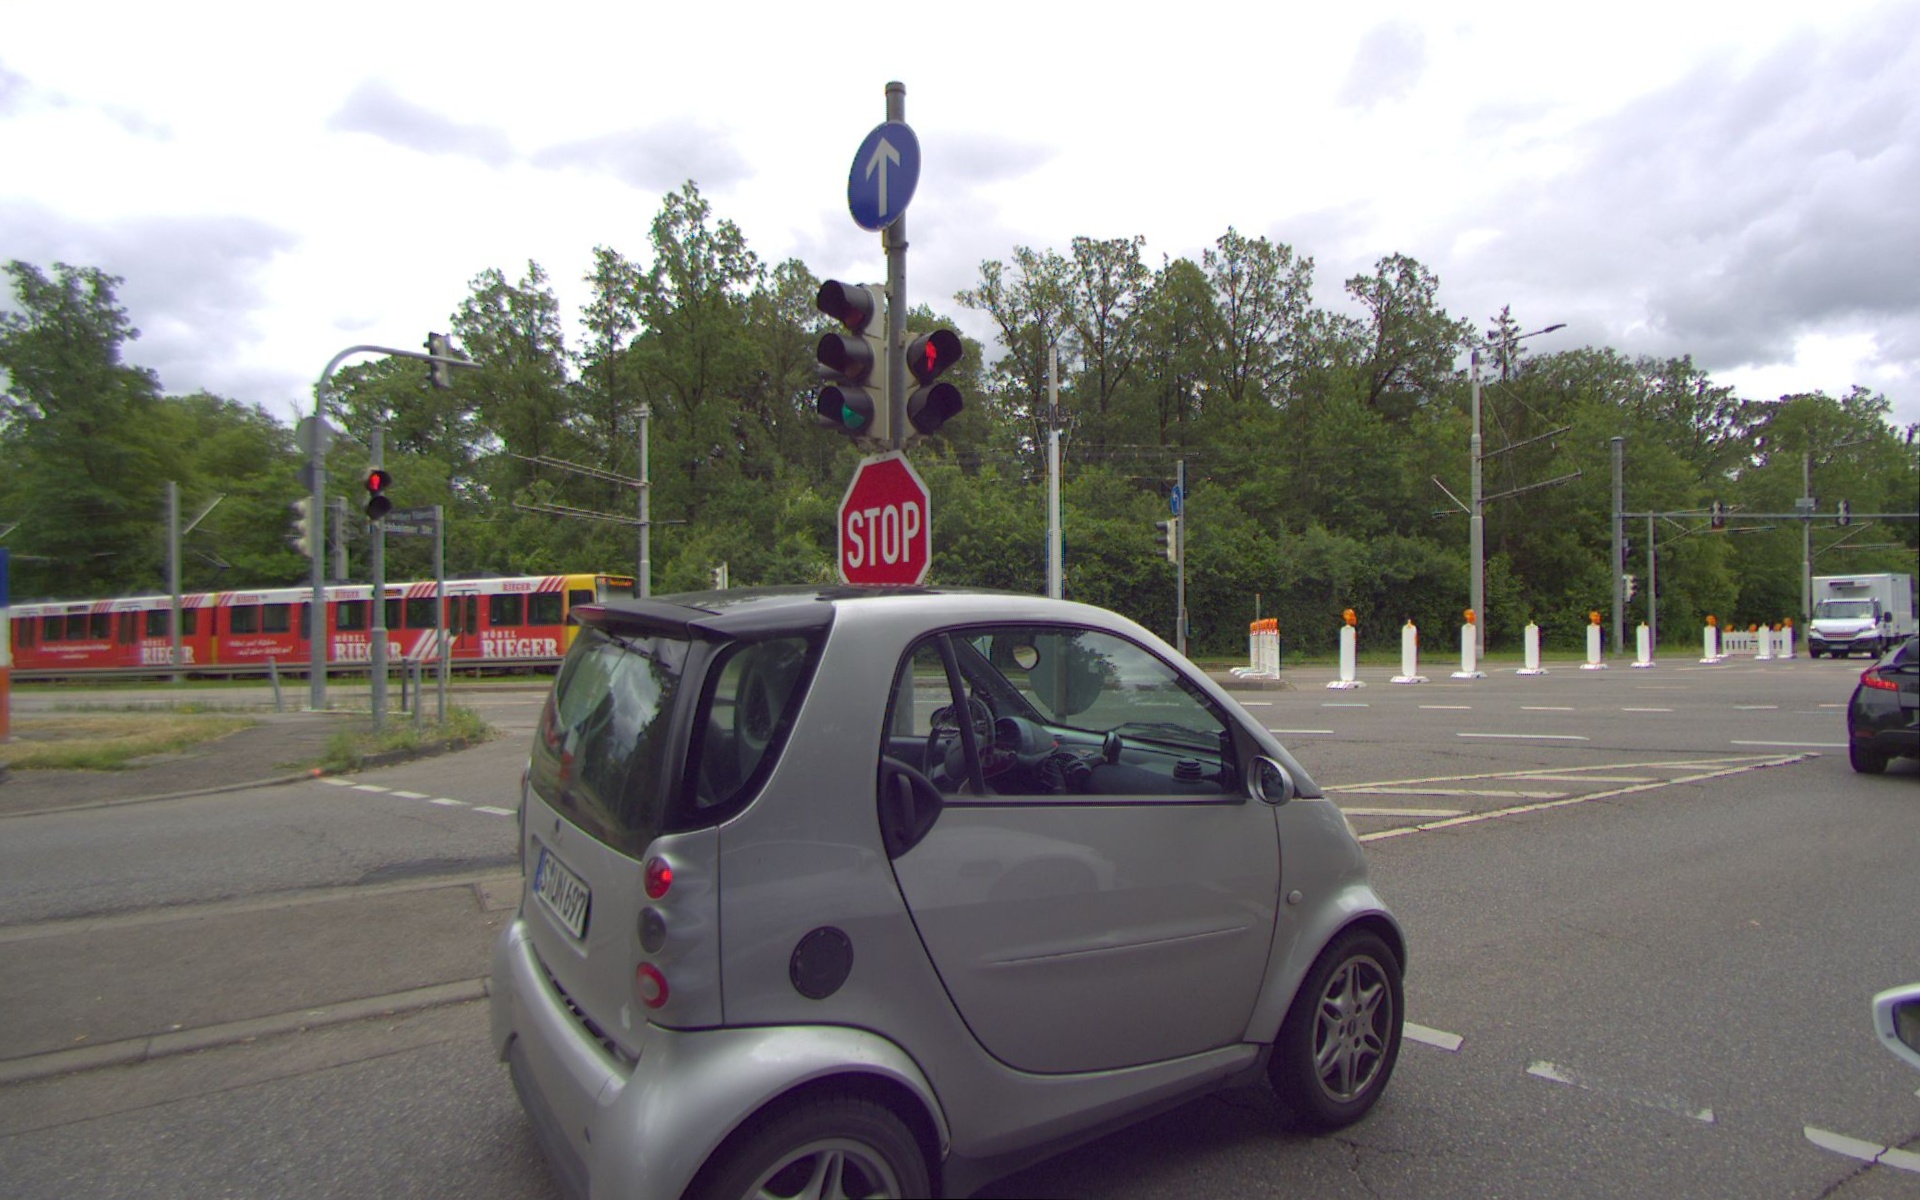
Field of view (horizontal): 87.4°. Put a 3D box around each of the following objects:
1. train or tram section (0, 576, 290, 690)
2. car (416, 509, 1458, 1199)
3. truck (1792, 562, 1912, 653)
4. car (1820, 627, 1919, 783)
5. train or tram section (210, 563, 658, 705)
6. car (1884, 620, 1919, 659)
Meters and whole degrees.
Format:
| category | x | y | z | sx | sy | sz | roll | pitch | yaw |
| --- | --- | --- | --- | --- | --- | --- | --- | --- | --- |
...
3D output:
| category | x | y | z | sx | sy | sz | roll | pitch | yaw |
| --- | --- | --- | --- | --- | --- | --- | --- | --- | --- |
| train or tram section | -37.183 | 1.260 | 44.055 | 18.365 | 4.476 | 2.965 | 1 | -2 | 22 |
| car | 0.015 | 0.712 | 2.943 | 2.700 | 1.607 | 1.448 | 1 | -3 | -35 |
| truck | 34.848 | 0.399 | 39.165 | 7.097 | 3.266 | 2.429 | 2 | -3 | -40 |
| car | 10.009 | 0.960 | 9.766 | 3.443 | 1.379 | 1.762 | 1 | -3 | -36 |
| train or tram section | -20.036 | 1.083 | 37.637 | 18.177 | 4.711 | 2.957 | 1 | -2 | 18 |
| car | 46.251 | 1.879 | 48.431 | 4.808 | 1.773 | 1.945 | 1 | -2 | -41 |
